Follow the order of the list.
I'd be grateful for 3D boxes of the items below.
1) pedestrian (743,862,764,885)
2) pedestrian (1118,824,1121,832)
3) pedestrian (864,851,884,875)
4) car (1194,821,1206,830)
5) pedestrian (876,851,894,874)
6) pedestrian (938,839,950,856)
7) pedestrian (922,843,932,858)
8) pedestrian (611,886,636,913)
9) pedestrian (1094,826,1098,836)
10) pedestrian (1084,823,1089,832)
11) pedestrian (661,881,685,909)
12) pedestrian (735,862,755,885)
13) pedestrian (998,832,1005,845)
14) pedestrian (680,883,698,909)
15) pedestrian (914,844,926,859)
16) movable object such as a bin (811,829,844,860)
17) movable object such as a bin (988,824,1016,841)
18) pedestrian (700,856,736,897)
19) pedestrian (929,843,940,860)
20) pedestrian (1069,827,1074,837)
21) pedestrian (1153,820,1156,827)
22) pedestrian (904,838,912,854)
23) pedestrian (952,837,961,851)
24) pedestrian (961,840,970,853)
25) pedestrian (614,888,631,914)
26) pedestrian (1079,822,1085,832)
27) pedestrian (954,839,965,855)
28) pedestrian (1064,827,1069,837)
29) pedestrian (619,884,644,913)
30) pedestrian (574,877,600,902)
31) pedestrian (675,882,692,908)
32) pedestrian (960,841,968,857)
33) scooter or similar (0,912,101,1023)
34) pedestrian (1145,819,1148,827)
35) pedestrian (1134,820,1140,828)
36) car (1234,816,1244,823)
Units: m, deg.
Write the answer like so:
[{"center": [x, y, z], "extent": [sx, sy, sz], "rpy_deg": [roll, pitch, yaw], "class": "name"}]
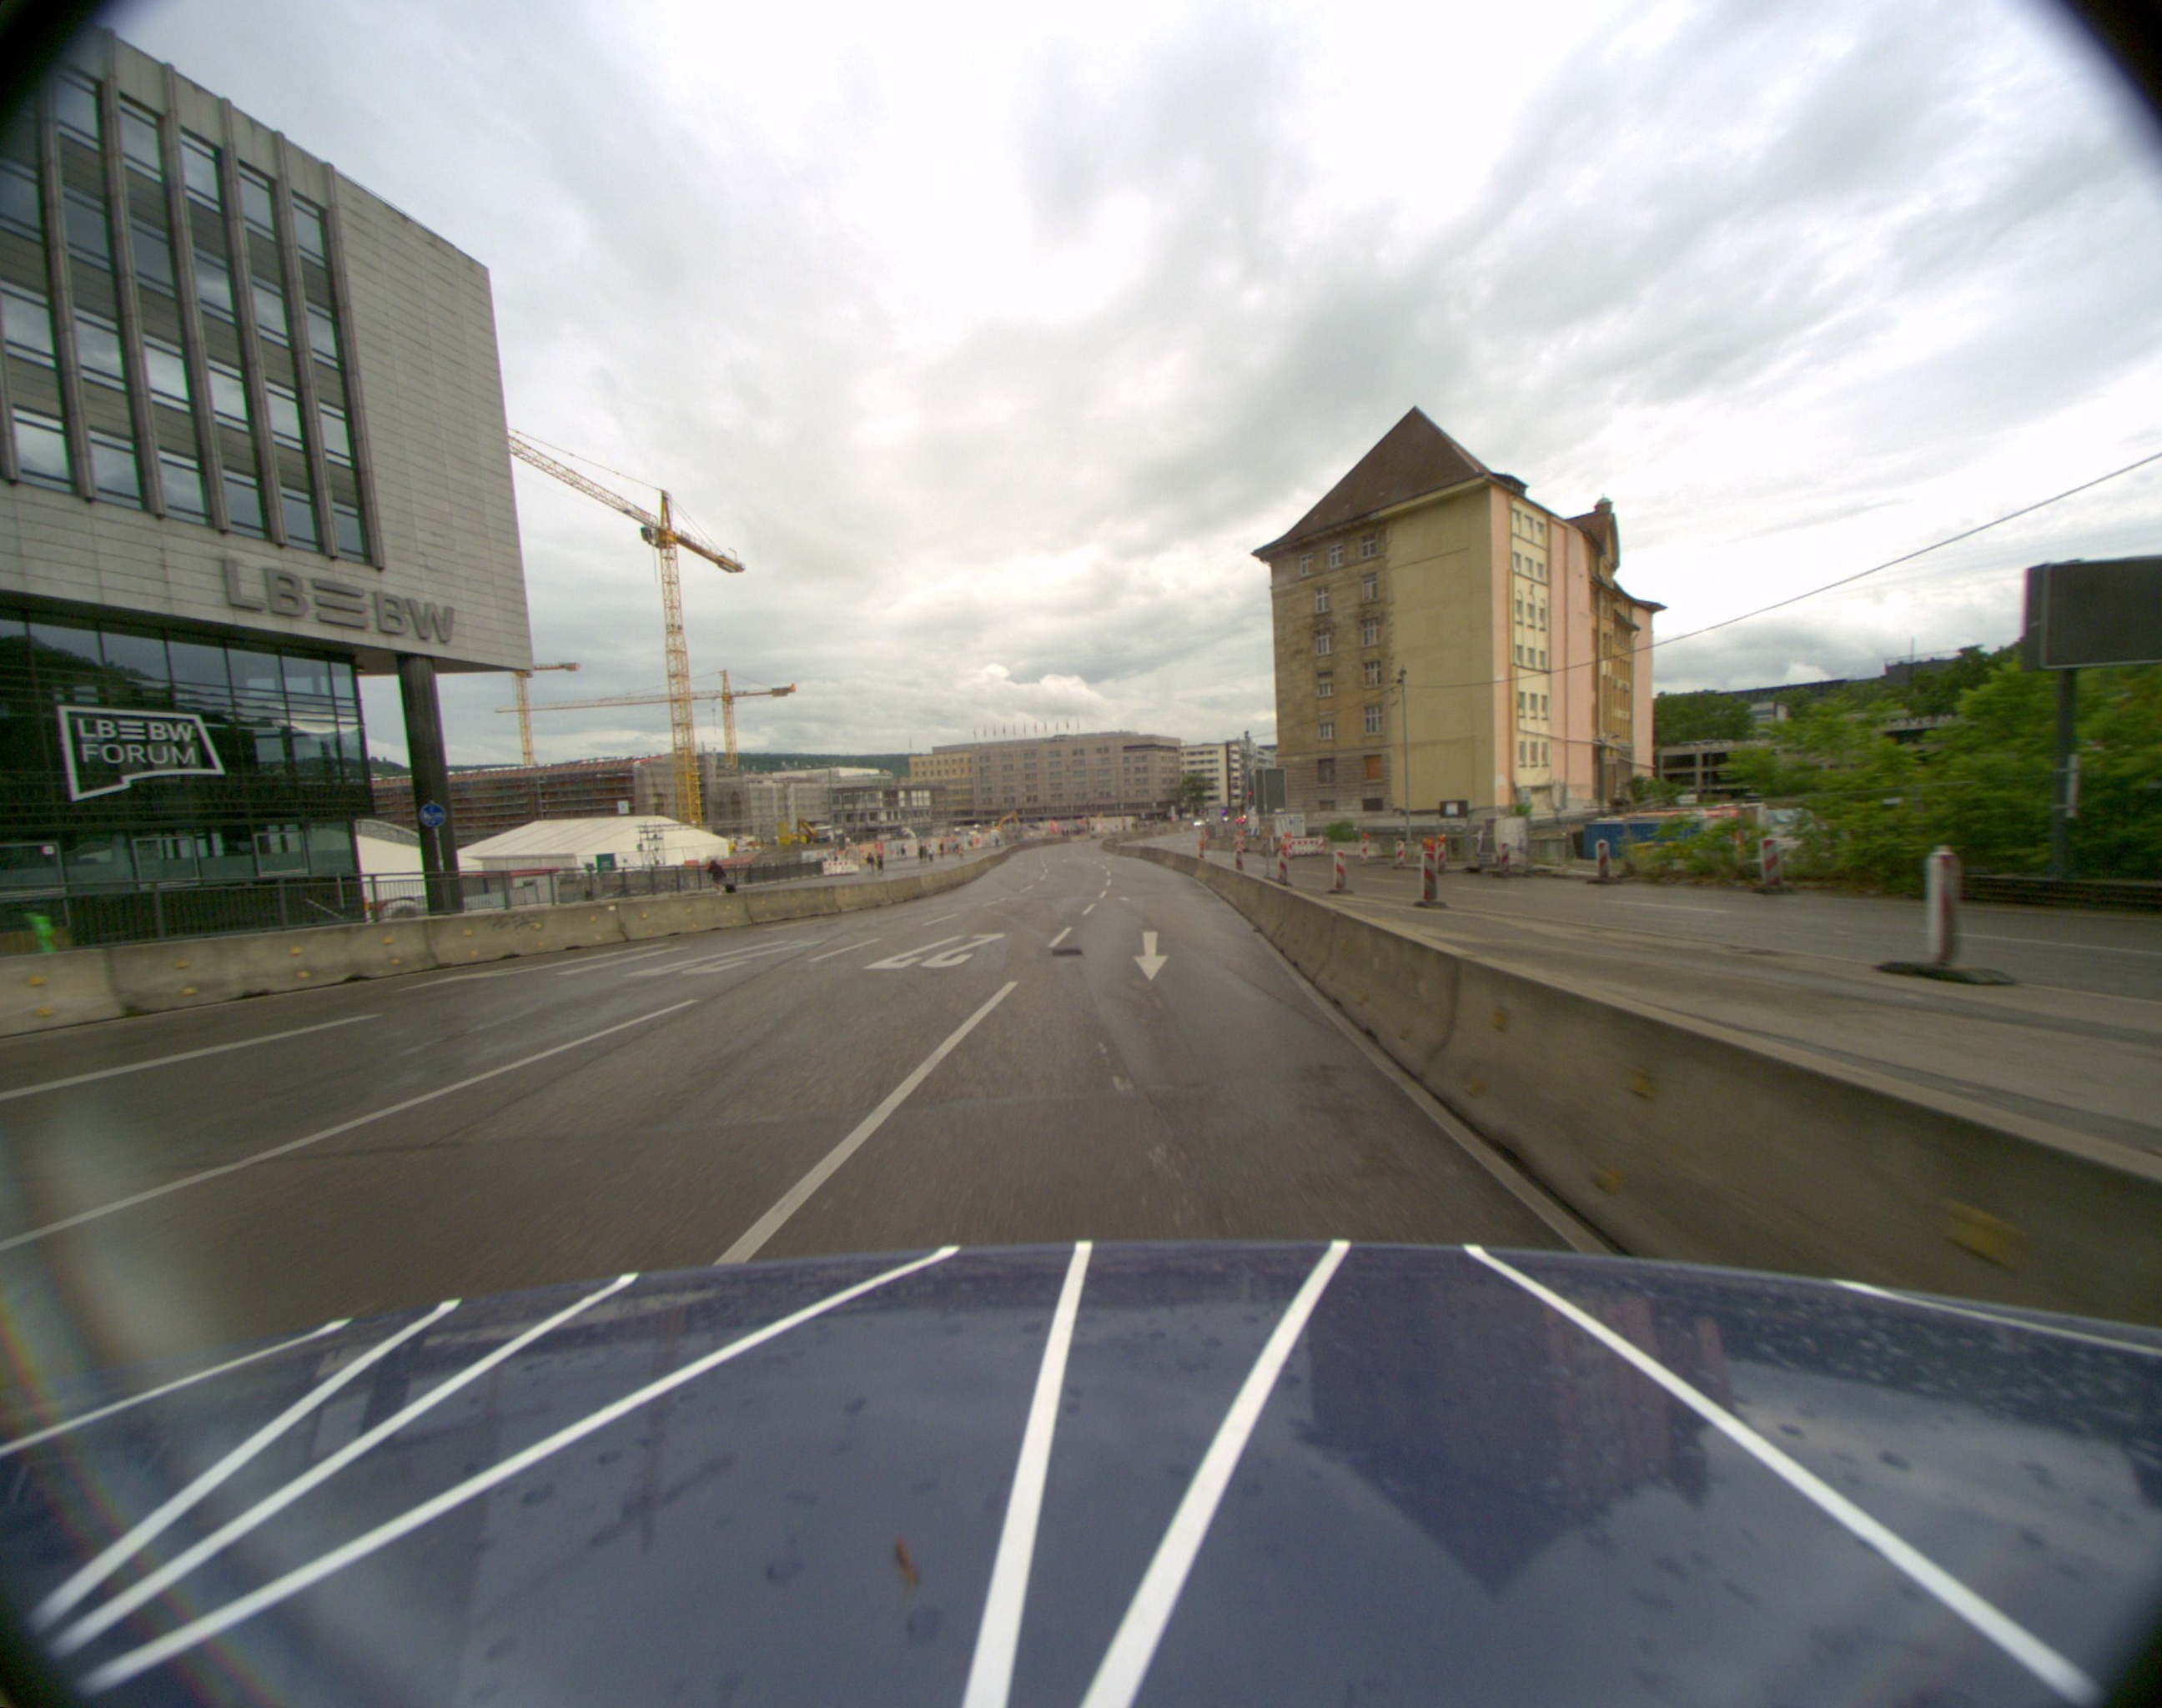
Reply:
[{"center": [-25.500, 1.493, 59.171], "extent": [0.867, 1.716, 1.009], "rpy_deg": [-1, 4, 26], "class": "pedestrian"}, {"center": [7.807, -5.239, 153.885], "extent": [0.648, 1.660, 0.766], "rpy_deg": [-1, 4, 9], "class": "pedestrian"}, {"center": [-14.755, 0.628, 54.089], "extent": [0.861, 1.585, 0.953], "rpy_deg": [-1, 4, 25], "class": "pedestrian"}, {"center": [27.459, -6.524, 174.697], "extent": [1.996, 2.002, 4.005], "rpy_deg": [-1, 1, 20], "class": "car"}, {"center": [-13.929, 0.591, 54.041], "extent": [0.732, 1.566, 0.806], "rpy_deg": [-2, 4, 25], "class": "pedestrian"}, {"center": [-15.651, -0.728, 87.038], "extent": [0.867, 1.808, 1.009], "rpy_deg": [-2, 4, 16], "class": "pedestrian"}, {"center": [-16.121, -0.367, 79.626], "extent": [0.610, 1.514, 0.886], "rpy_deg": [-2, 4, 17], "class": "pedestrian"}, {"center": [-30.269, 3.006, 50.290], "extent": [0.867, 1.628, 1.009], "rpy_deg": [-1, 4, 26], "class": "pedestrian"}, {"center": [2.884, -4.289, 142.773], "extent": [0.648, 1.752, 0.583], "rpy_deg": [-1, 4, 9], "class": "pedestrian"}, {"center": [0.977, -4.802, 137.016], "extent": [0.654, 1.682, 0.776], "rpy_deg": [0, 4, 21], "class": "pedestrian"}, {"center": [-27.568, 2.750, 51.360], "extent": [0.867, 1.772, 1.009], "rpy_deg": [-1, 4, 26], "class": "pedestrian"}, {"center": [-26.356, 1.518, 59.681], "extent": [0.867, 1.680, 1.009], "rpy_deg": [-1, 4, 26], "class": "pedestrian"}, {"center": [-11.074, -2.162, 105.673], "extent": [0.746, 1.697, 0.687], "rpy_deg": [0, 4, 11], "class": "pedestrian"}, {"center": [-26.086, 2.771, 50.547], "extent": [0.772, 1.628, 0.602], "rpy_deg": [-6, 5, -44], "class": "pedestrian"}, {"center": [-16.873, -0.281, 79.527], "extent": [0.715, 1.545, 1.009], "rpy_deg": [-2, 4, 17], "class": "pedestrian"}, {"center": [-30.240, -1.182, 90.744], "extent": [1.941, 3.391, 4.229], "rpy_deg": [-2, 3, 4], "class": "movable object such as a bin"}, {"center": [-13.260, -3.633, 127.789], "extent": [4.135, 2.522, 1.994], "rpy_deg": [-5, 4, -38], "class": "movable object such as a bin"}, {"center": [-15.574, 0.964, 32.597], "extent": [0.730, 1.643, 1.062], "rpy_deg": [-1, 3, 25], "class": "pedestrian"}, {"center": [-15.404, -0.311, 79.974], "extent": [0.778, 1.713, 0.892], "rpy_deg": [-2, 4, 16], "class": "pedestrian"}, {"center": [-1.675, -3.852, 130.960], "extent": [0.648, 1.637, 0.947], "rpy_deg": [0, 4, 11], "class": "pedestrian"}, {"center": [17.135, -7.109, 177.314], "extent": [0.653, 1.752, 0.548], "rpy_deg": [-1, 4, 9], "class": "pedestrian"}, {"center": [-19.229, -0.847, 84.378], "extent": [0.567, 1.739, 0.495], "rpy_deg": [-2, 4, 15], "class": "pedestrian"}, {"center": [-15.348, -1.256, 93.902], "extent": [0.647, 1.646, 0.767], "rpy_deg": [0, 4, 33], "class": "pedestrian"}, {"center": [-14.304, -0.978, 93.938], "extent": [0.647, 1.545, 0.767], "rpy_deg": [0, 4, 33], "class": "pedestrian"}, {"center": [-29.137, 2.977, 48.305], "extent": [0.704, 1.607, 0.566], "rpy_deg": [-1, 4, 30], "class": "pedestrian"}, {"center": [0.184, -4.699, 133.042], "extent": [0.654, 1.682, 0.776], "rpy_deg": [0, 4, 21], "class": "pedestrian"}, {"center": [-14.713, -0.877, 91.857], "extent": [0.818, 1.839, 0.933], "rpy_deg": [0, 4, 33], "class": "pedestrian"}, {"center": [-2.550, -3.776, 130.959], "extent": [0.648, 1.734, 0.766], "rpy_deg": [0, 4, 11], "class": "pedestrian"}, {"center": [-29.307, 2.891, 49.552], "extent": [0.771, 1.774, 1.009], "rpy_deg": [-1, 4, 26], "class": "pedestrian"}, {"center": [-32.624, 2.369, 50.212], "extent": [0.867, 1.545, 1.009], "rpy_deg": [-1, 4, 26], "class": "pedestrian"}, {"center": [-26.702, 2.738, 51.096], "extent": [0.753, 1.628, 0.586], "rpy_deg": [-6, 5, -44], "class": "pedestrian"}, {"center": [-12.576, -0.519, 81.710], "extent": [0.649, 1.624, 0.907], "rpy_deg": [-3, 4, -2], "class": "pedestrian"}, {"center": [-11.727, 1.270, 8.620], "extent": [0.349, 1.156, 0.573], "rpy_deg": [-2, 3, 12], "class": "scooter or similar"}, {"center": [14.658, -6.938, 169.880], "extent": [0.756, 1.752, 0.766], "rpy_deg": [-1, 4, 9], "class": "pedestrian"}, {"center": [12.520, -6.753, 168.839], "extent": [1.097, 1.752, 0.907], "rpy_deg": [1, 4, 24], "class": "pedestrian"}, {"center": [36.216, -7.859, 174.394], "extent": [1.769, 1.513, 4.389], "rpy_deg": [-2, 3, 17], "class": "car"}]
